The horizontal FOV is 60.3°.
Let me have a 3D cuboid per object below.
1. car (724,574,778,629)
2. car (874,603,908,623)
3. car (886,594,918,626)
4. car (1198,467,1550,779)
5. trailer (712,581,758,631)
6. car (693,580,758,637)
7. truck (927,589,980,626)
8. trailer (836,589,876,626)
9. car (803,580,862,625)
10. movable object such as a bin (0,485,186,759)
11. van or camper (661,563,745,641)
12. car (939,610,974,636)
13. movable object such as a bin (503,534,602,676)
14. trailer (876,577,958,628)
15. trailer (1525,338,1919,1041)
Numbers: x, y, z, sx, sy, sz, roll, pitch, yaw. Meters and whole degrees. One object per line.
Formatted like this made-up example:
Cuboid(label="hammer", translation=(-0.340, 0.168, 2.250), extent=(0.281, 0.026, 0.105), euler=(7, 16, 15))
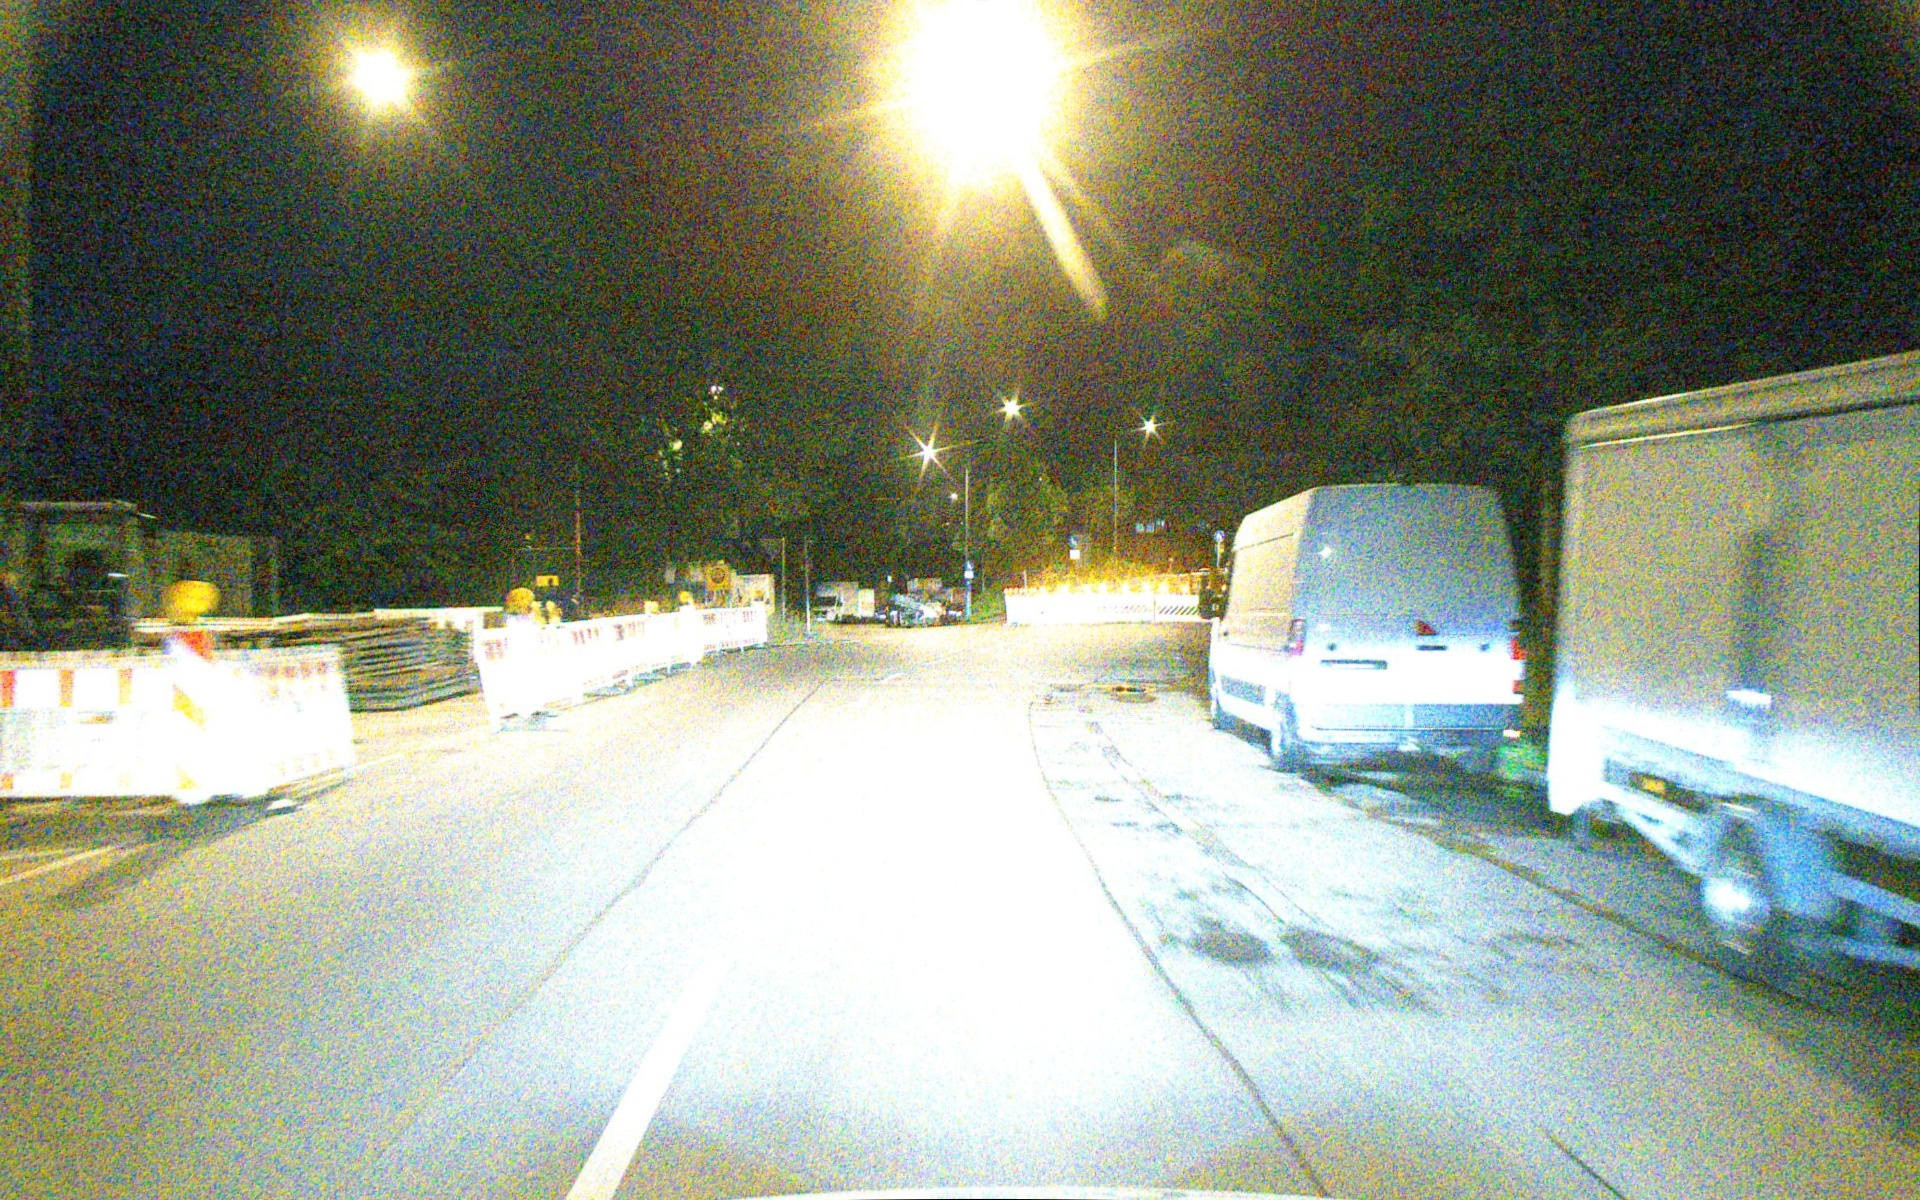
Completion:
Cuboid(label="car", translation=(-12.098, 0.125, 96.249), extent=(2.469, 2.978, 7.196), euler=(-2, 0, -3))
Cuboid(label="car", translation=(-5.972, 1.127, 143.709), extent=(1.951, 1.729, 4.209), euler=(0, -1, 13))
Cuboid(label="car", translation=(-3.203, 0.563, 91.281), extent=(1.686, 1.690, 3.999), euler=(0, -1, -1))
Cuboid(label="car", translation=(3.870, 0.147, 16.824), extent=(2.065, 2.560, 6.372), euler=(0, 1, 1))
Cuboid(label="trailer", translation=(-12.064, 0.301, 88.747), extent=(1.953, 2.571, 3.567), euler=(-2, 0, -2))
Cuboid(label="car", translation=(-11.648, 0.413, 82.728), extent=(2.469, 2.651, 7.087), euler=(-2, 0, -3))
Cuboid(label="truck", translation=(-0.531, 0.673, 161.510), extent=(1.953, 3.463, 8.979), euler=(0, 1, 22))
Cuboid(label="trailer", translation=(-8.317, 0.578, 132.627), extent=(1.951, 2.862, 4.707), euler=(-1, 0, 13))
Cuboid(label="car", translation=(-9.686, 0.139, 126.183), extent=(2.465, 3.226, 7.144), euler=(-2, 0, 12))
Cuboid(label="movable object such as a bin", translation=(-8.793, 0.203, 16.745), extent=(1.527, 2.510, 2.820), euler=(-2, 0, -22))
Cuboid(label="van or camper", translation=(-11.238, 0.092, 72.868), extent=(2.468, 3.148, 7.444), euler=(-2, 0, 0))
Cuboid(label="car", translation=(-0.235, 1.684, 119.858), extent=(1.684, 1.853, 4.003), euler=(0, -1, 13))
Cuboid(label="movable object such as a bin", translation=(-8.637, 0.076, 35.287), extent=(1.541, 2.781, 3.694), euler=(-3, 1, -8))
Cuboid(label="trailer", translation=(-2.033, 0.151, 76.262), extent=(1.542, 2.198, 5.171), euler=(-2, -1, -29))
Cuboid(label="trailer", translation=(4.203, 0.305, 7.269), extent=(1.599, 2.517, 5.026), euler=(0, 1, -2))
